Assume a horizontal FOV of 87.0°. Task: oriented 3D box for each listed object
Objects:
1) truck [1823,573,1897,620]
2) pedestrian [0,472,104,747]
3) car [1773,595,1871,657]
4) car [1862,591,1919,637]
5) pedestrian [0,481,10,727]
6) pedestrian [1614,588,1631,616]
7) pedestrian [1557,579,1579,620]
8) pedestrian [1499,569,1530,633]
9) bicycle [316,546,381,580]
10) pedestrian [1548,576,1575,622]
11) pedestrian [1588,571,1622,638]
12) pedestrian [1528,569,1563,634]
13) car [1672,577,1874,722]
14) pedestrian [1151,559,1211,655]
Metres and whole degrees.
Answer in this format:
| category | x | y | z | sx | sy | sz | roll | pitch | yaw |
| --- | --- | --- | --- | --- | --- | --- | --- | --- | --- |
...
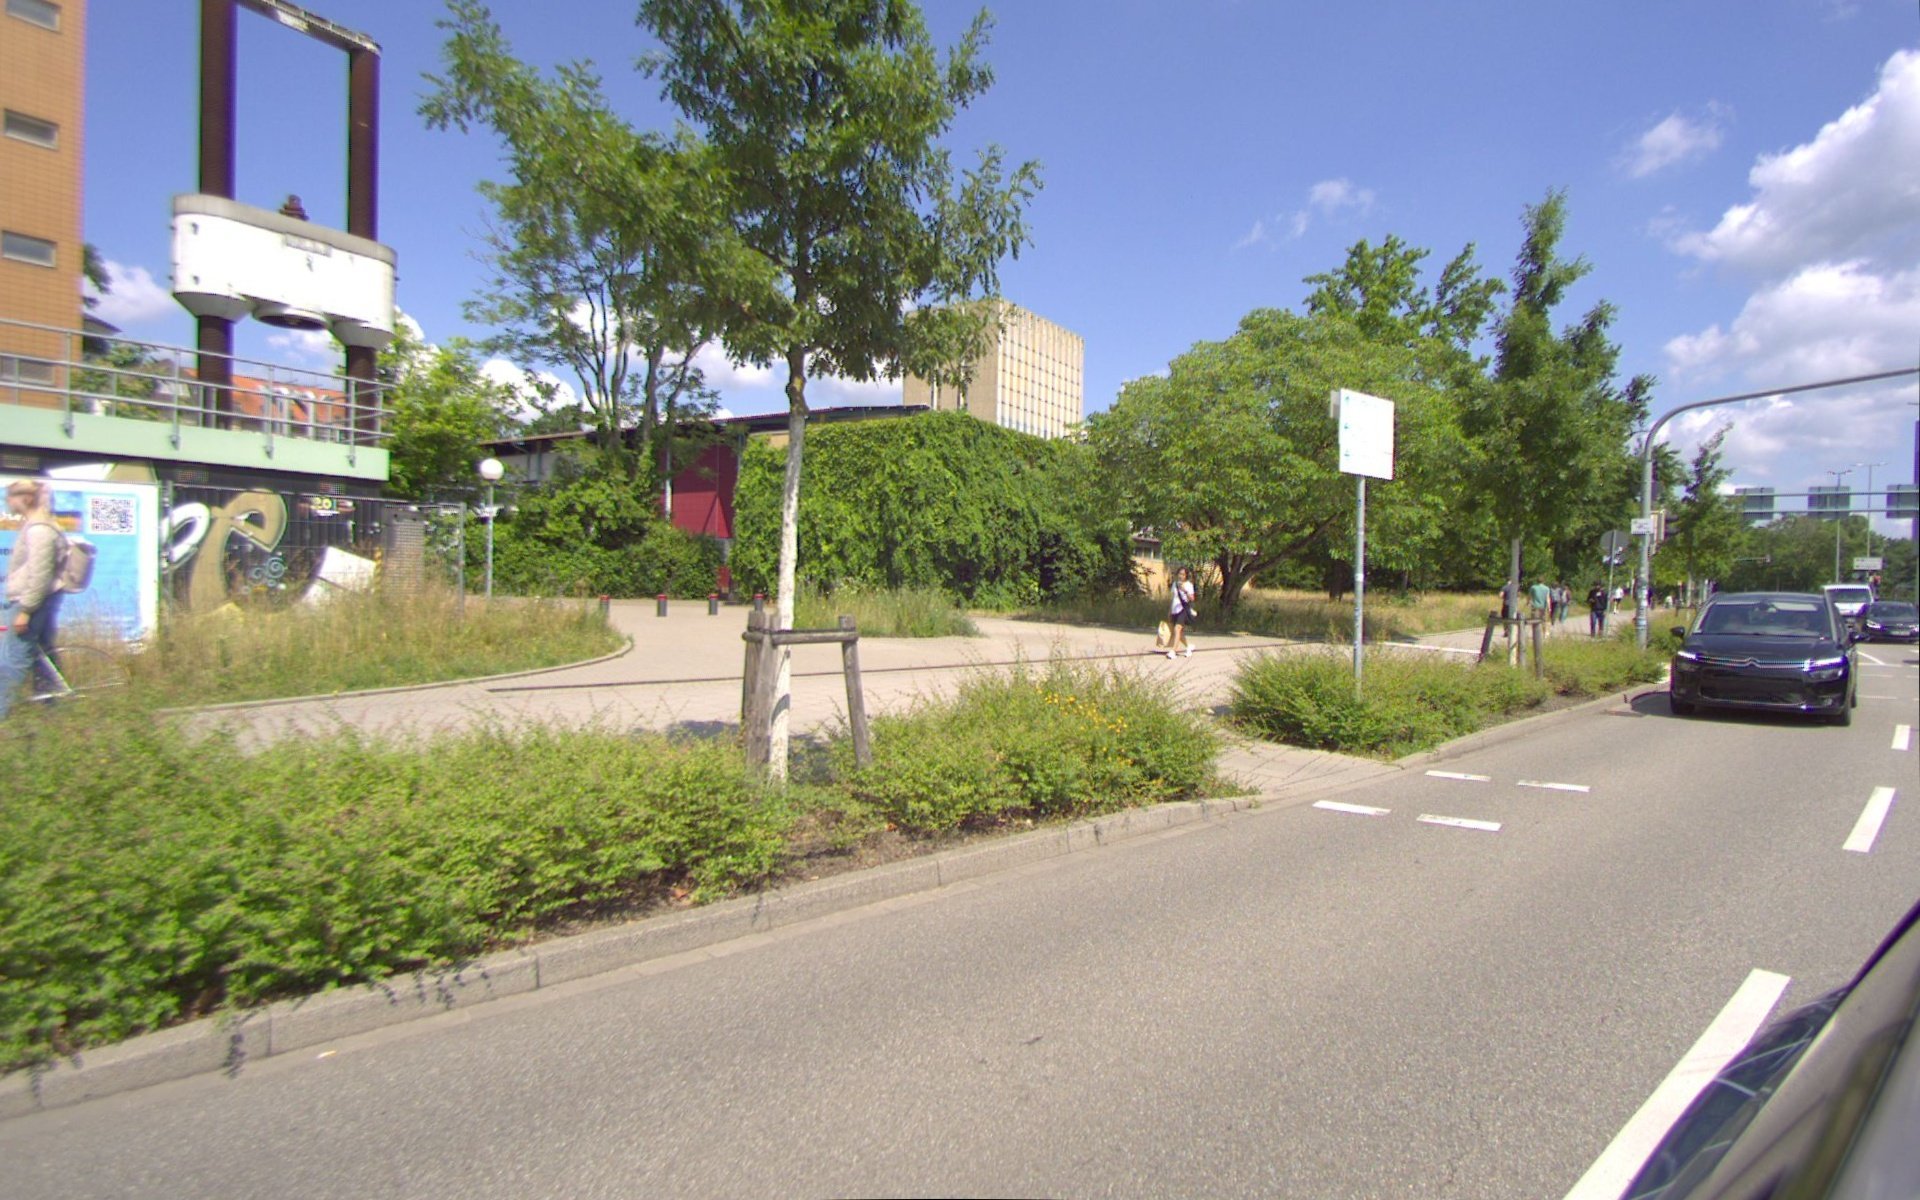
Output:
| category | x | y | z | sx | sy | sz | roll | pitch | yaw |
| --- | --- | --- | --- | --- | --- | --- | --- | --- | --- |
| truck | 46.923 | -0.153 | 52.890 | 2.450 | 2.330 | 5.736 | -1 | -1 | 38 |
| pedestrian | -6.481 | 0.049 | 7.117 | 0.750 | 1.824 | 0.600 | 4 | 2 | 44 |
| car | 21.842 | 0.611 | 25.670 | 1.759 | 1.435 | 4.299 | -1 | -1 | 41 |
| car | 33.136 | 0.489 | 35.603 | 1.743 | 1.524 | 4.458 | -1 | -1 | 38 |
| pedestrian | -7.376 | 0.009 | 7.379 | 0.750 | 1.774 | 0.600 | 4 | 2 | 44 |
| pedestrian | 43.113 | 0.131 | 65.854 | 0.840 | 1.787 | 0.830 | 0 | 0 | 37 |
| pedestrian | 26.689 | -0.016 | 44.401 | 0.665 | 1.771 | 0.866 | 4 | 2 | 37 |
| pedestrian | 15.827 | 0.019 | 28.875 | 0.663 | 1.768 | 0.602 | 3 | 1 | 32 |
| bicycle | -25.759 | -1.547 | 42.684 | 0.633 | 1.364 | 2.344 | 0 | 1 | 30 |
| pedestrian | 23.553 | -0.034 | 39.623 | 0.748 | 1.771 | 0.658 | 3 | 1 | 37 |
| pedestrian | 17.732 | 0.115 | 27.820 | 0.665 | 1.771 | 0.836 | 3 | 1 | 37 |
| pedestrian | 16.600 | 0.037 | 28.678 | 0.746 | 1.799 | 0.872 | 3 | 1 | 31 |
| car | 11.150 | 0.572 | 13.760 | 1.857 | 1.643 | 4.450 | -1 | -1 | 42 |
| pedestrian | 3.903 | 0.108 | 17.853 | 0.746 | 1.616 | 0.872 | 3 | 1 | 30 |
